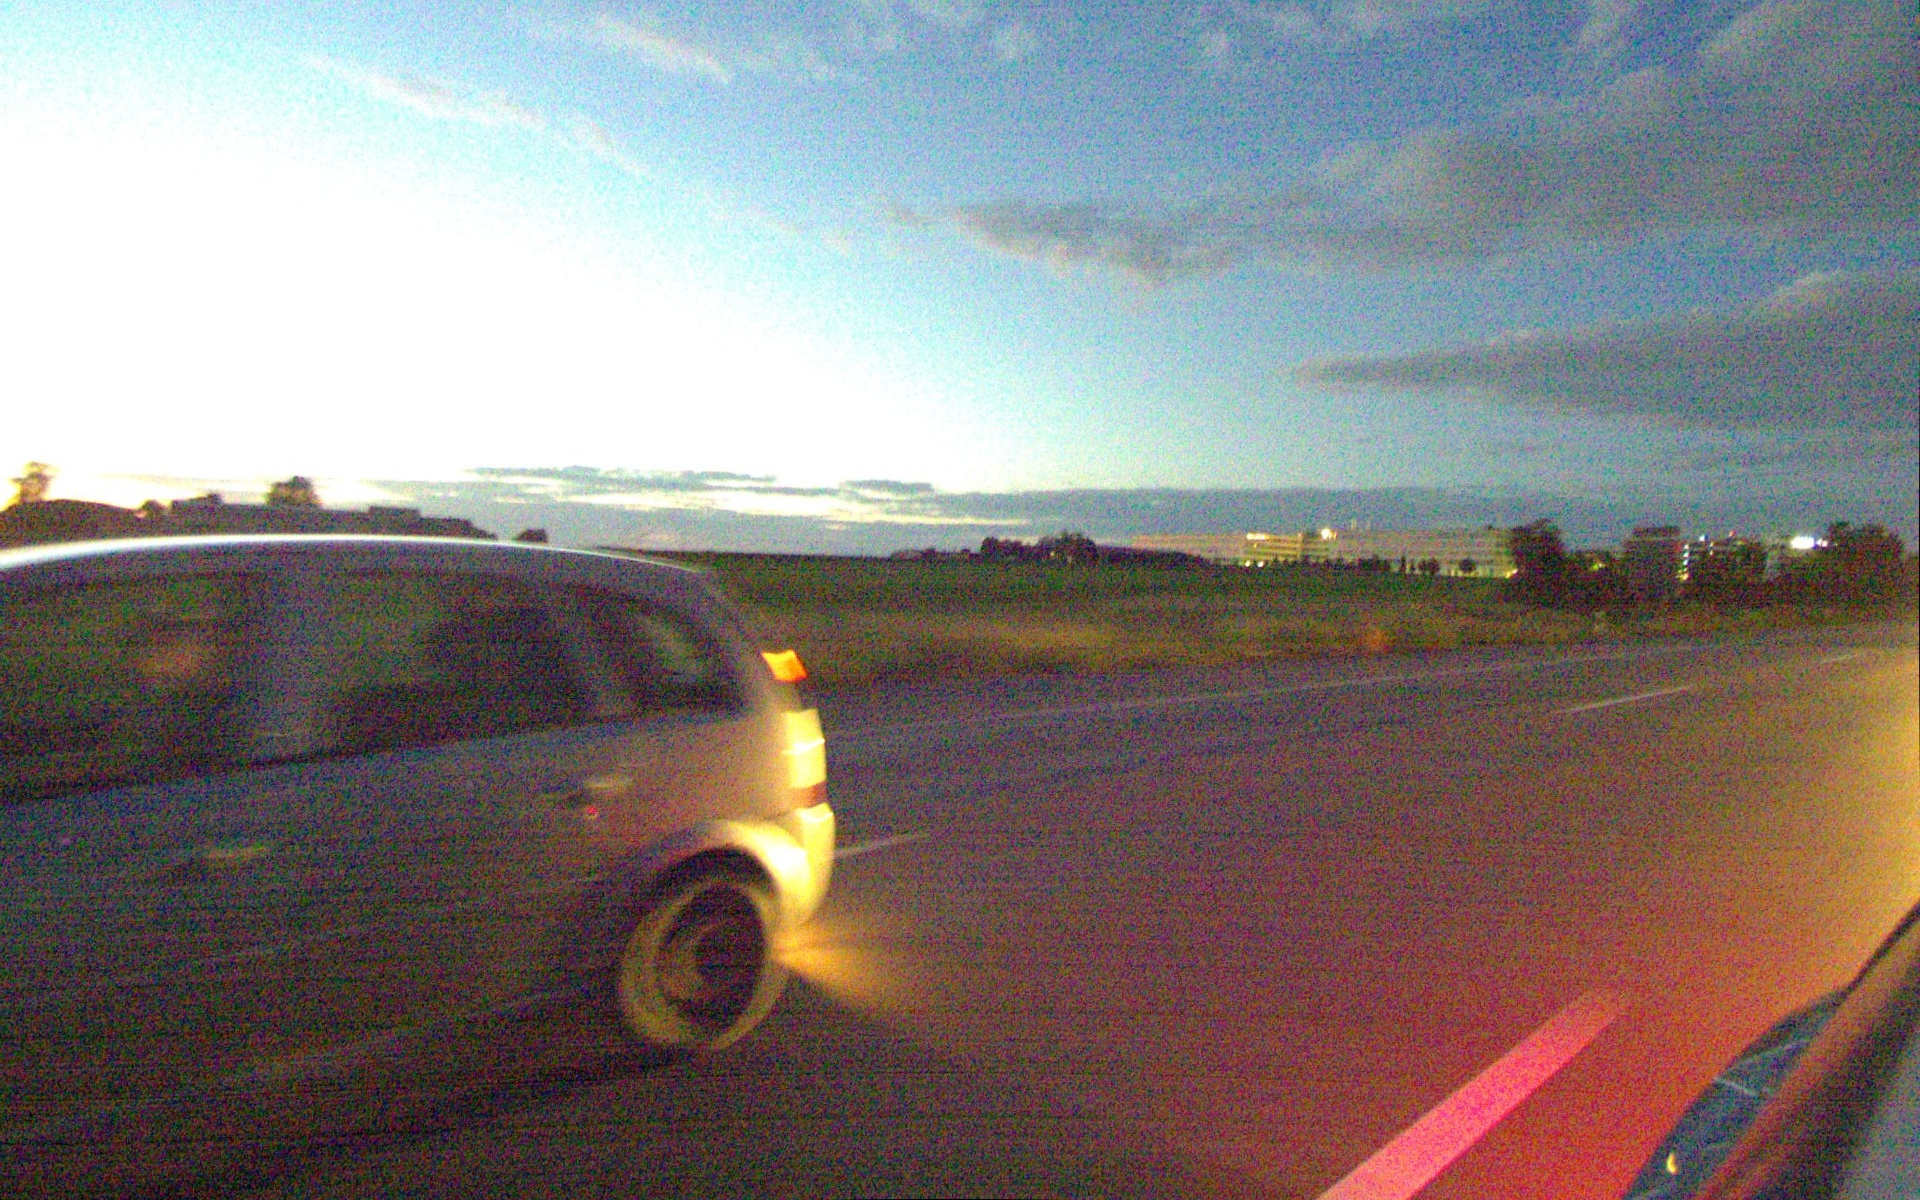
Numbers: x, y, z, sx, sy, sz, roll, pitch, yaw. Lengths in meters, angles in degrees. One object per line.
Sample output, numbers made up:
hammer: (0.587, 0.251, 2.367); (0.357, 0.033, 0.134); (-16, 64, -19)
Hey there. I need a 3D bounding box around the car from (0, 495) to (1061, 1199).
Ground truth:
car: (-1.807, 0.572, 3.349); (4.430, 1.616, 1.649); (0, 1, -41)
